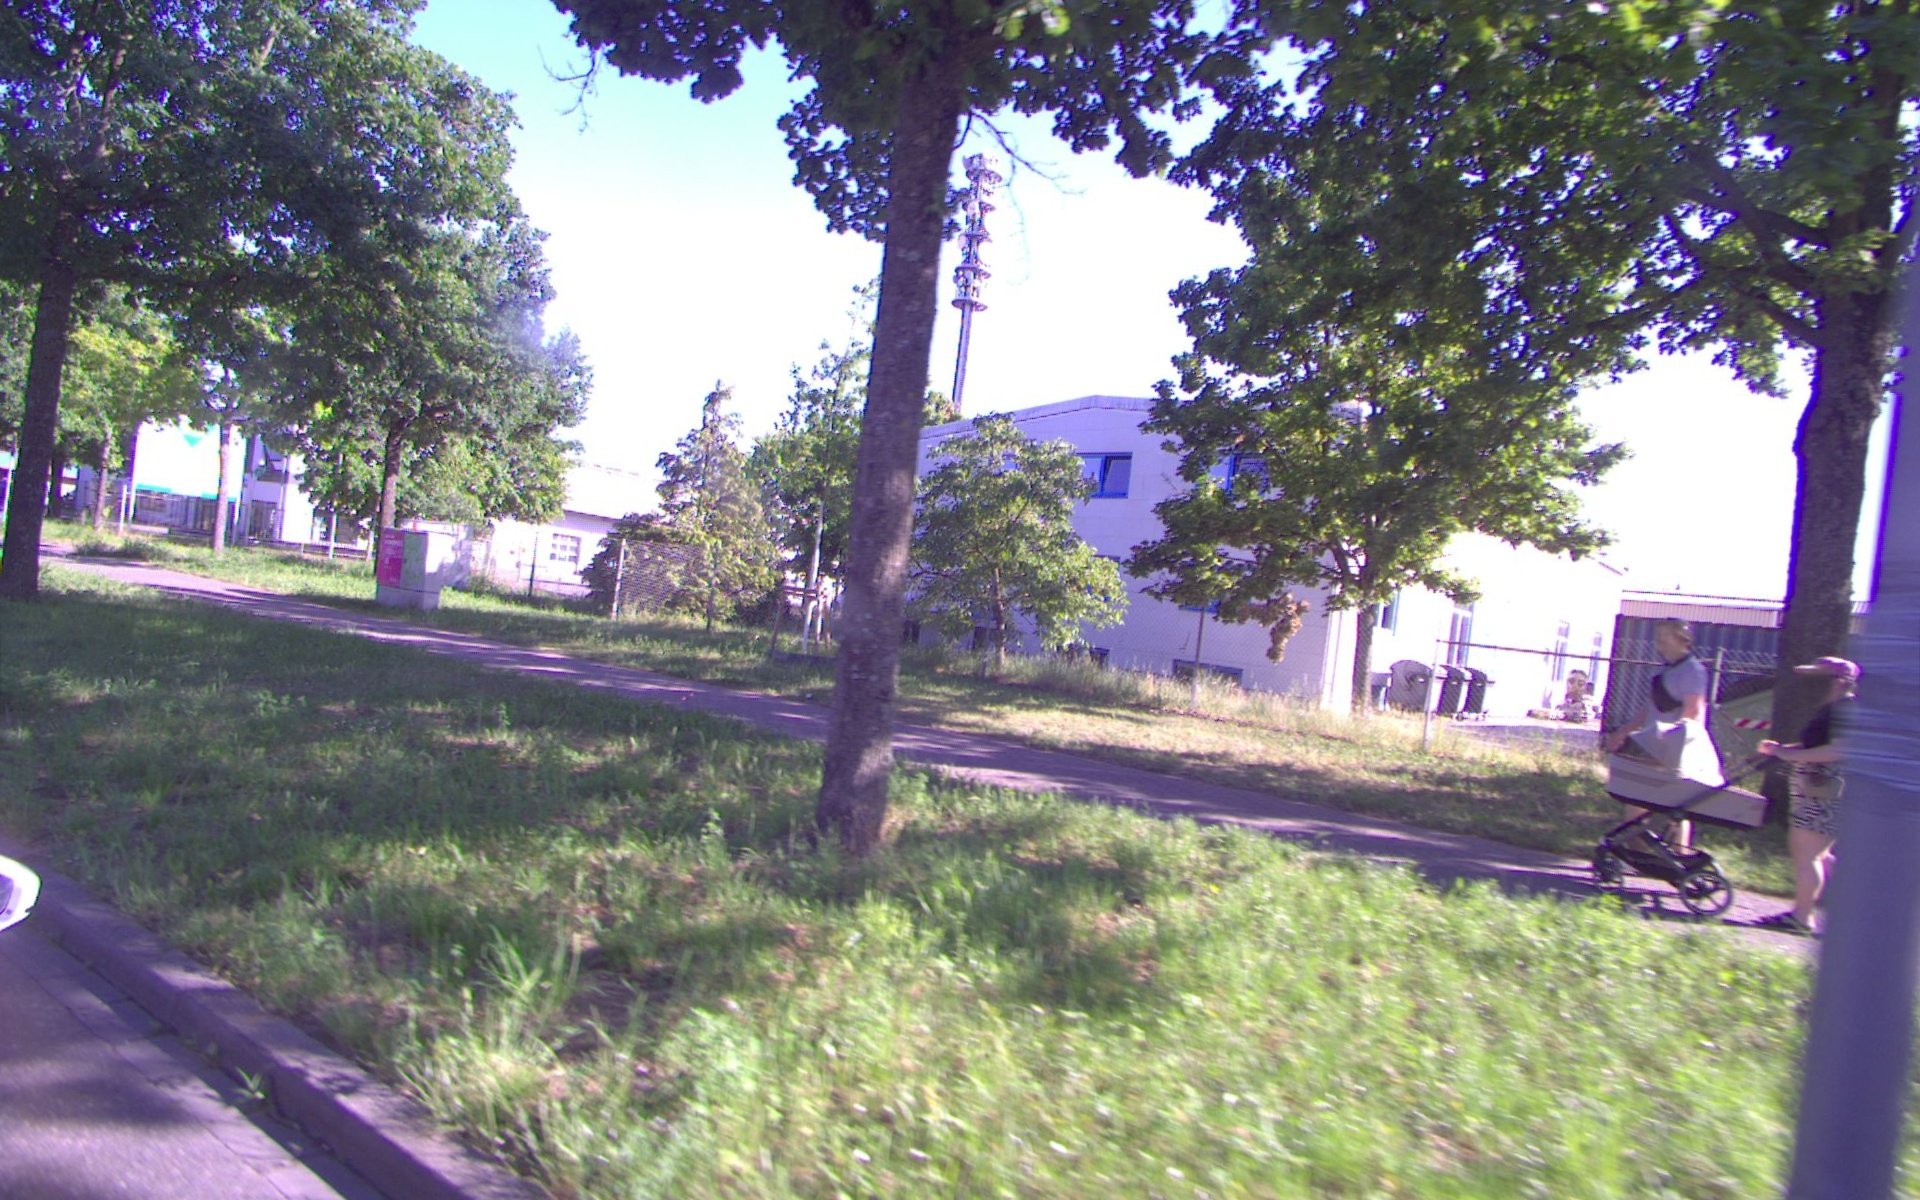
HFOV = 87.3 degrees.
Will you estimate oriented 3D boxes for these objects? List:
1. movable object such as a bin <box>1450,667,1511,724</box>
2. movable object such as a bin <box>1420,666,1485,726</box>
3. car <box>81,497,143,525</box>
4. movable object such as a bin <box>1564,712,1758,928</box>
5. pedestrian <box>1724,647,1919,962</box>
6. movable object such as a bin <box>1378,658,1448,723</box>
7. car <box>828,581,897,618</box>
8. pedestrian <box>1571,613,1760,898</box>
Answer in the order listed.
[{"bbox_3d":[14.741,2.707,28.507,1.180,1.424,1.047,6,1,-41],"label":"movable object such as a bin"},{"bbox_3d":[13.166,2.558,26.898,1.180,1.424,1.047,6,1,-41],"label":"movable object such as a bin"},{"bbox_3d":[-56.338,-5.910,66.826,3.701,1.401,1.769,7,0,27],"label":"car"},{"bbox_3d":[4.397,1.342,6.384,0.853,1.095,0.726,7,2,32],"label":"movable object such as a bin"},{"bbox_3d":[5.189,1.145,5.937,0.853,1.623,0.726,7,1,32],"label":"pedestrian"},{"bbox_3d":[11.176,2.238,24.813,1.180,1.424,1.047,6,1,-41],"label":"movable object such as a bin"},{"bbox_3d":[-6.773,-0.035,69.294,4.672,2.011,1.989,7,0,44],"label":"car"},{"bbox_3d":[4.904,1.038,7.066,0.853,1.777,0.726,7,1,32],"label":"pedestrian"}]
